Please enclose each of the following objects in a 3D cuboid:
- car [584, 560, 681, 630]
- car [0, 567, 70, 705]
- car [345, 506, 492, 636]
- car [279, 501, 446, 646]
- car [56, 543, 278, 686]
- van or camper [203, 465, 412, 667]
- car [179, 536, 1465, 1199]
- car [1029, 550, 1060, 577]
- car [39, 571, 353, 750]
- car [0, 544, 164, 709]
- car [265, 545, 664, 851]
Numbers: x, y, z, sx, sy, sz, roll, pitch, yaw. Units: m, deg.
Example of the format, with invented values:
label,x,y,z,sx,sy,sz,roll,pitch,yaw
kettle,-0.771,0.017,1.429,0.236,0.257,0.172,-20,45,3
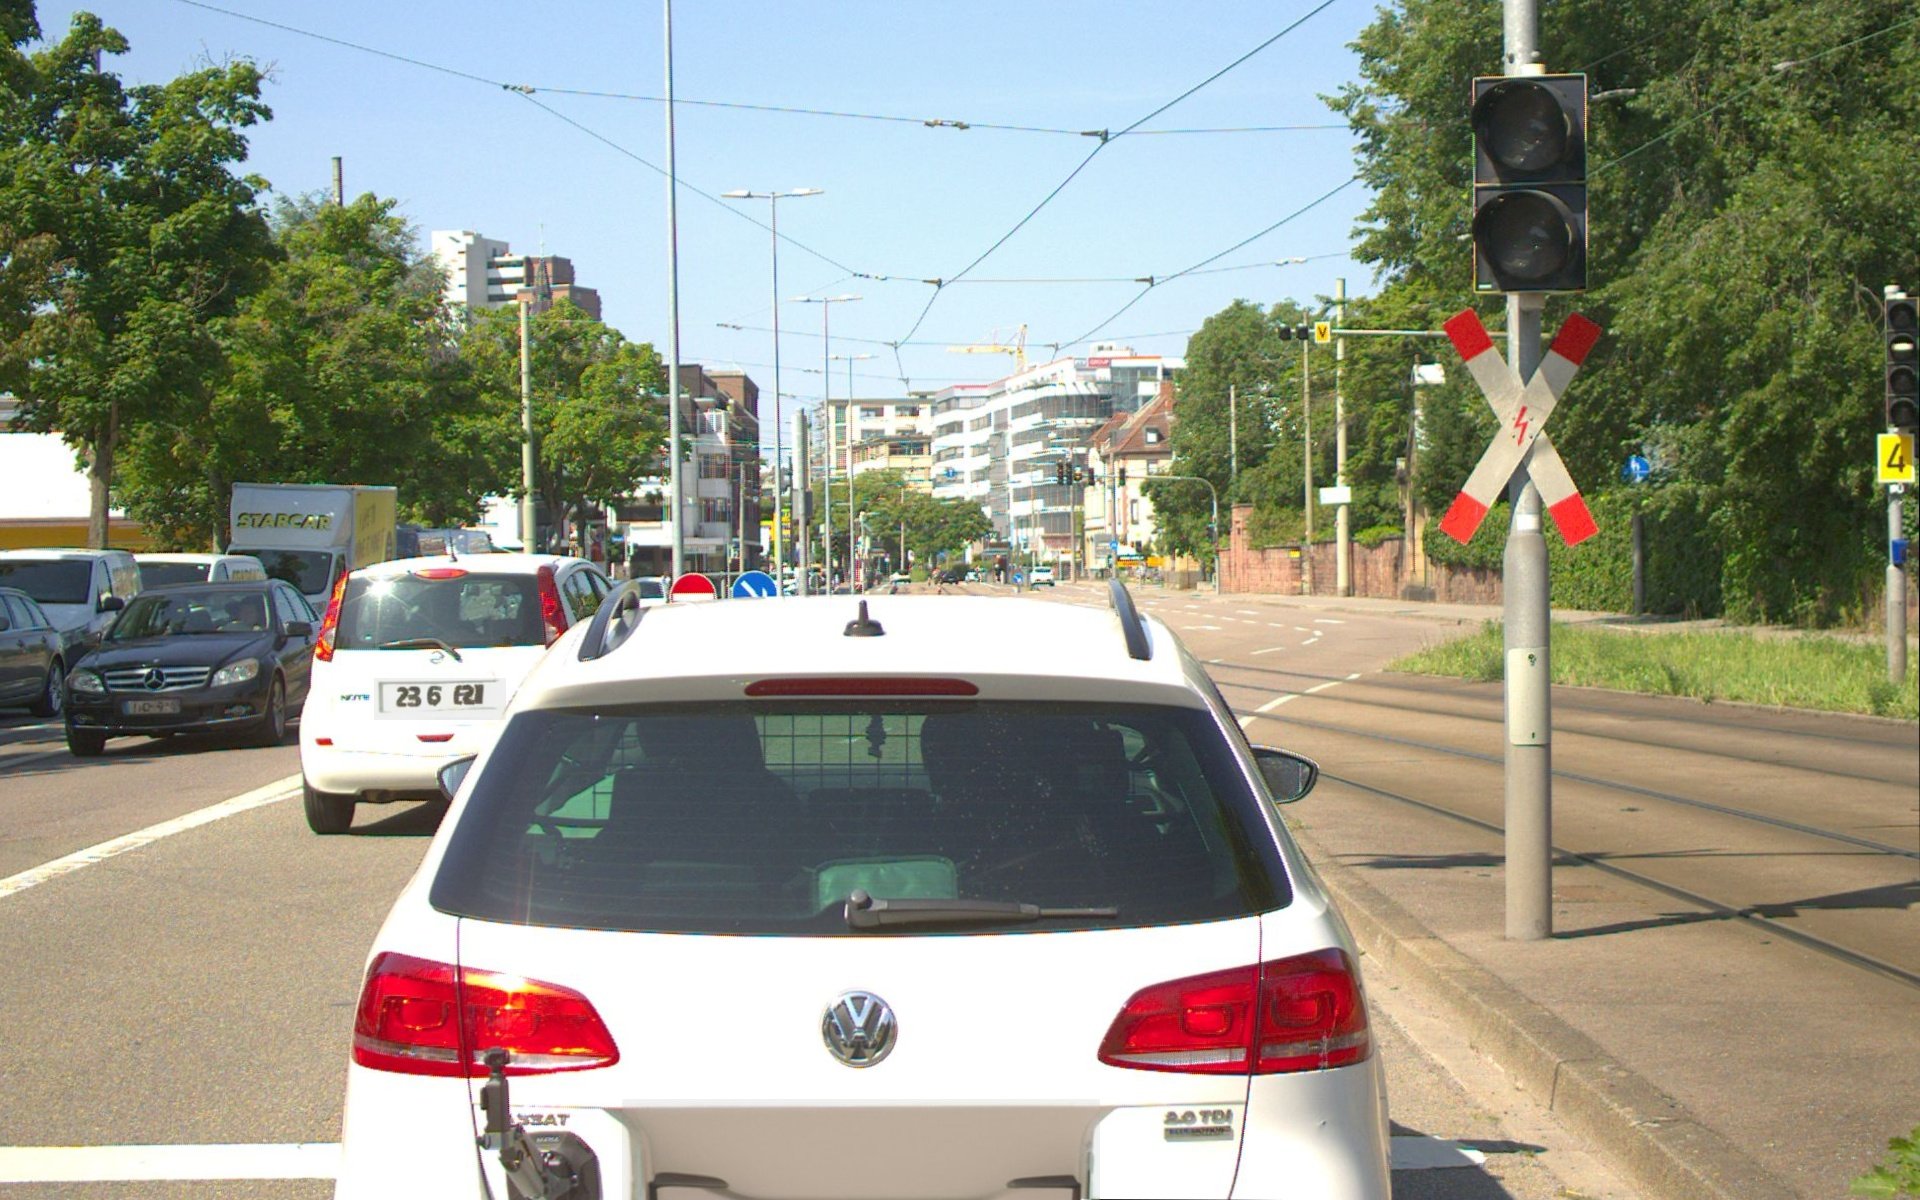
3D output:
label,x,y,z,sx,sy,sz,roll,pitch,yaw
car,-7.258,-0.123,76.415,1.727,1.460,4.000,-1,1,0
car,-11.168,0.406,37.019,1.932,1.450,4.886,-2,1,-1
car,-11.476,-0.643,73.295,2.196,2.621,5.979,1,1,0
car,-11.494,-0.545,66.578,2.196,2.659,6.080,1,1,0
car,-11.532,0.164,50.367,2.195,1.934,5.185,-1,1,-2
van or camper,-11.027,-0.600,58.643,2.196,3.230,6.772,1,1,1
car,-0.200,0.643,6.732,1.778,1.485,3.847,1,1,0
car,6.440,-2.771,261.890,2.126,2.007,5.283,-2,1,-1
car,-6.660,0.483,30.408,1.785,1.404,4.305,-1,1,0
car,-11.575,0.296,43.363,2.195,1.934,5.186,-2,1,-5
car,-2.777,0.485,20.069,1.730,1.591,4.011,-1,1,0
